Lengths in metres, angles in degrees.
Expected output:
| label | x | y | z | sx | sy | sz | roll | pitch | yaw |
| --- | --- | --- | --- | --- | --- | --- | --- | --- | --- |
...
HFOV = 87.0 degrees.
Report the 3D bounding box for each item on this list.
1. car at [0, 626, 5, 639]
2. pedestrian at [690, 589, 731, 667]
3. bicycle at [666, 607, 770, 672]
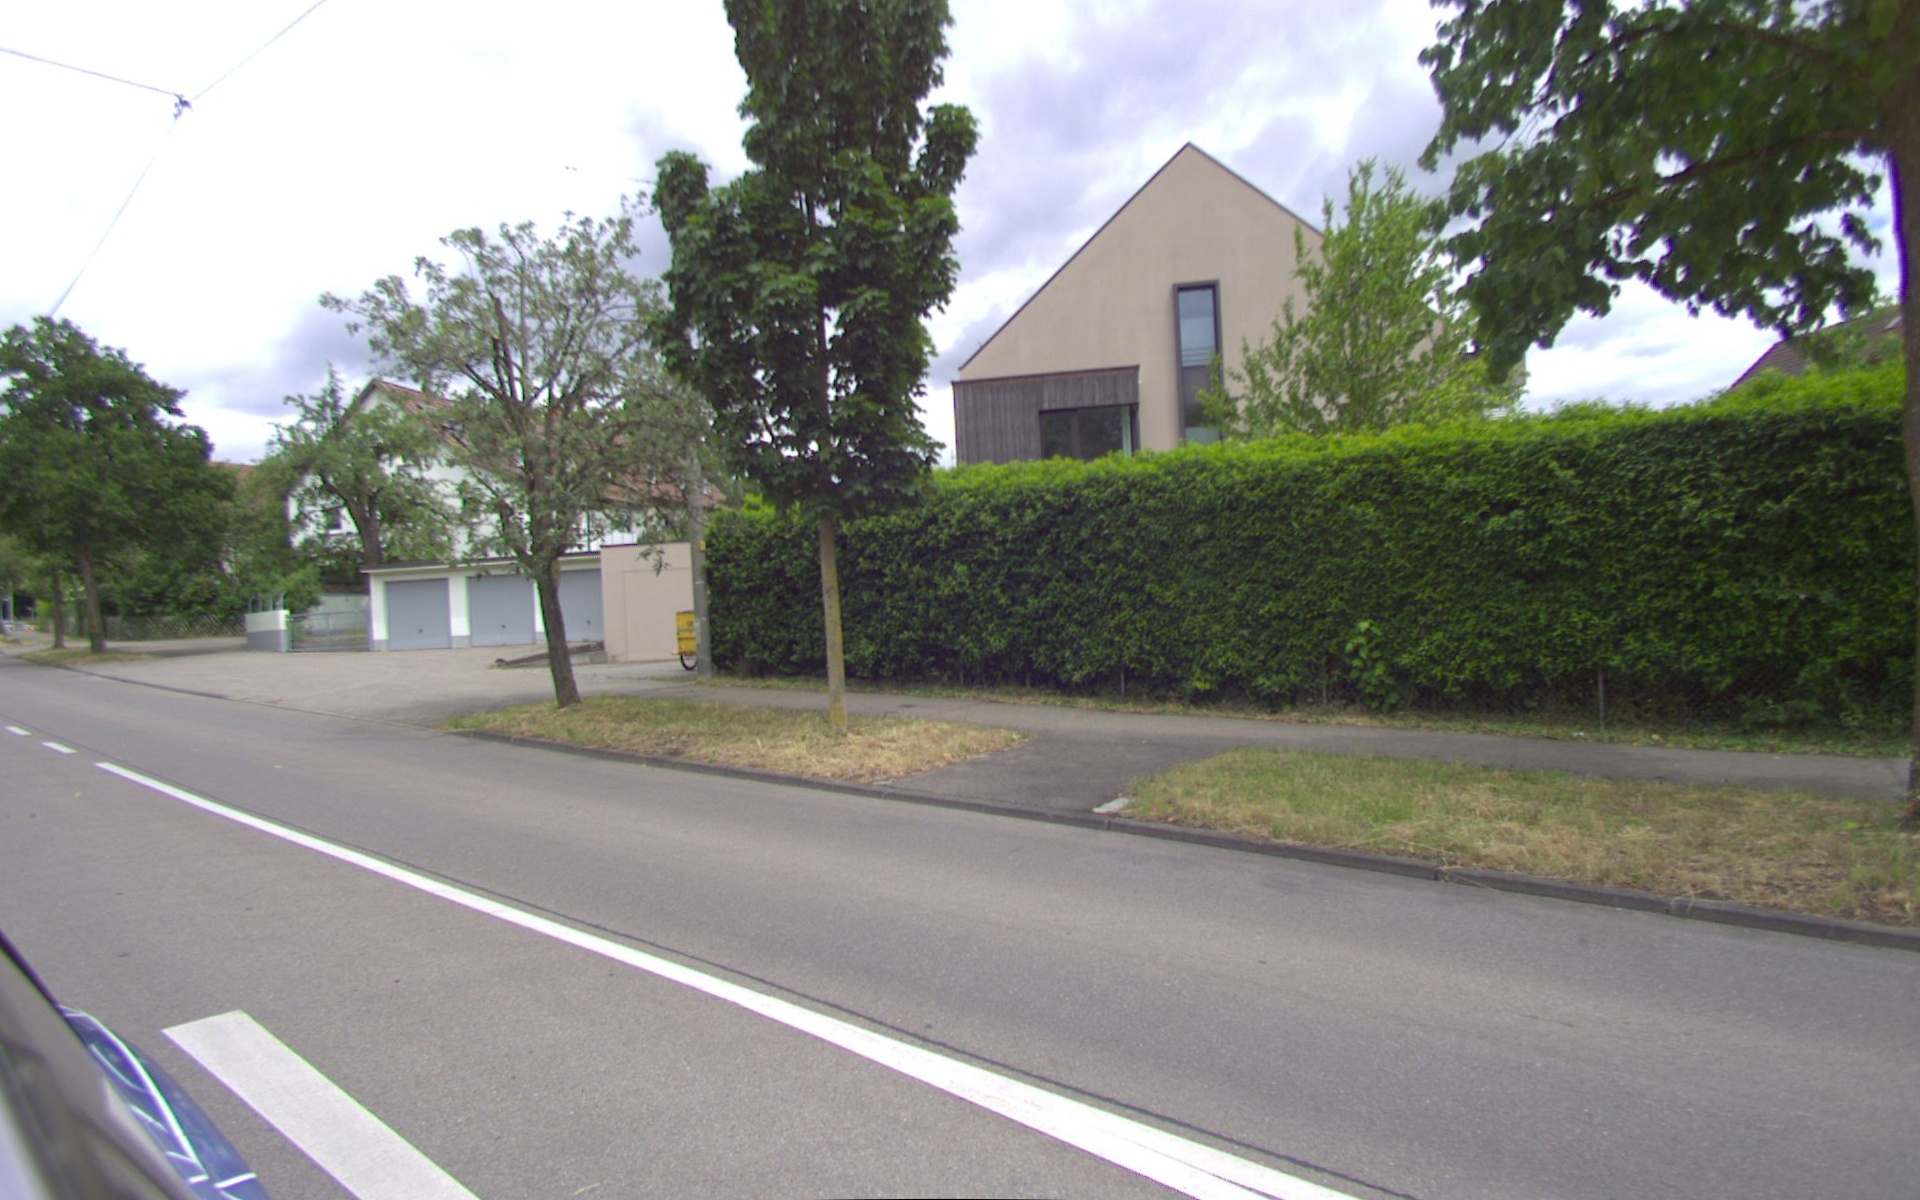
| label | x | y | z | sx | sy | sz | roll | pitch | yaw |
| --- | --- | --- | --- | --- | --- | --- | --- | --- | --- |
| car | -109.129 | 3.725 | 112.560 | 1.778 | 1.420 | 3.993 | -1 | 0 | 5 |
| pedestrian | -5.454 | 0.607 | 22.153 | 0.597 | 1.688 | 0.638 | -1 | 0 | 19 |
| bicycle | -5.002 | 0.798 | 21.167 | 0.841 | 1.214 | 2.606 | -3 | -1 | 18 |
